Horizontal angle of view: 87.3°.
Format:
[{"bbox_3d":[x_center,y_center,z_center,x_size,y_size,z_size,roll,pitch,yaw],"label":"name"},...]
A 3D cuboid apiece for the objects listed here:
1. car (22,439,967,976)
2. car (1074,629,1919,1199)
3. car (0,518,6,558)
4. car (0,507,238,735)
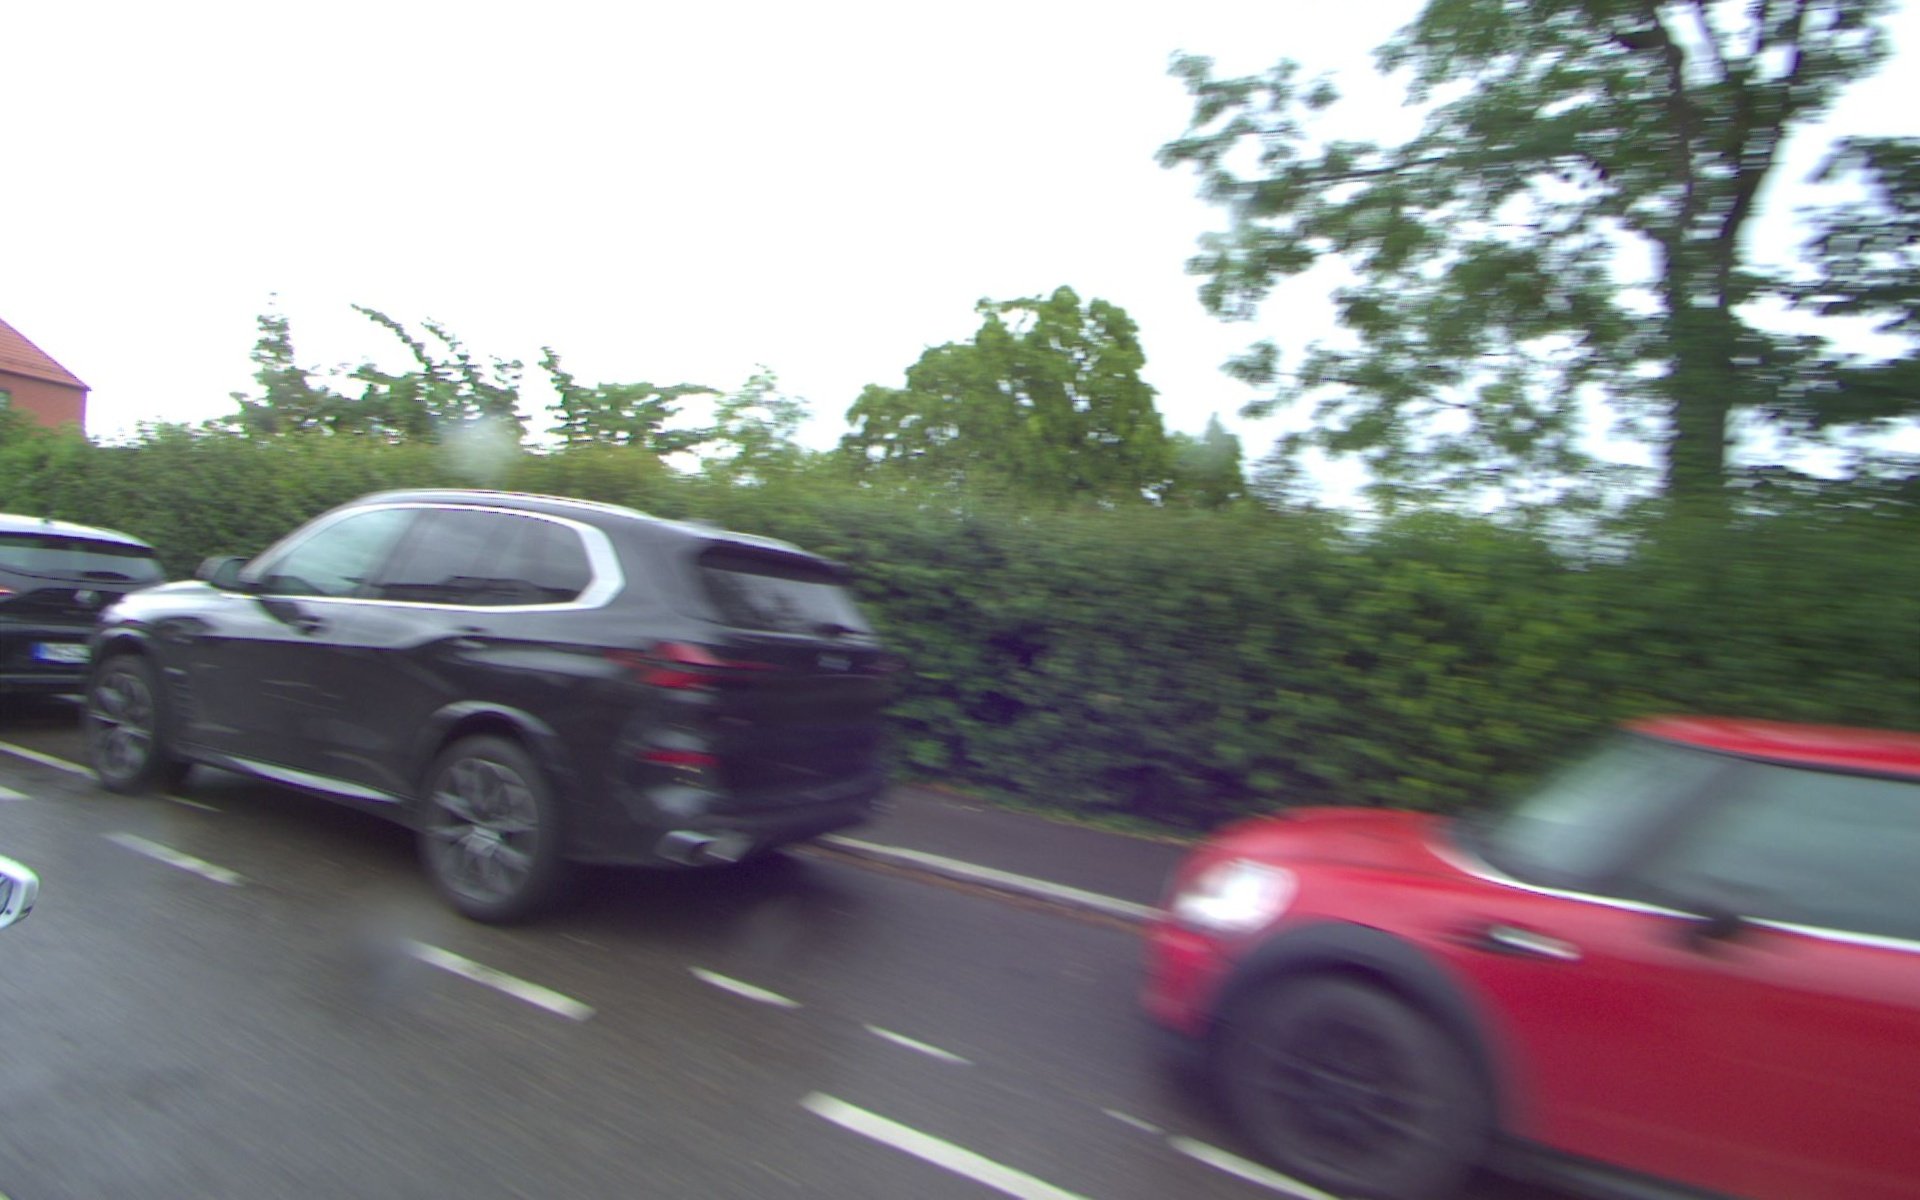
[{"bbox_3d":[-2.638,0.288,5.513,4.813,1.803,2.033,6,-2,27],"label":"car"},{"bbox_3d":[2.419,1.035,3.016,3.676,1.430,1.676,6,-2,25],"label":"car"},{"bbox_3d":[-12.883,-0.486,10.573,4.553,1.456,1.808,6,-3,13],"label":"car"},{"bbox_3d":[-7.572,0.047,7.670,3.915,1.438,1.693,4,-3,28],"label":"car"}]
